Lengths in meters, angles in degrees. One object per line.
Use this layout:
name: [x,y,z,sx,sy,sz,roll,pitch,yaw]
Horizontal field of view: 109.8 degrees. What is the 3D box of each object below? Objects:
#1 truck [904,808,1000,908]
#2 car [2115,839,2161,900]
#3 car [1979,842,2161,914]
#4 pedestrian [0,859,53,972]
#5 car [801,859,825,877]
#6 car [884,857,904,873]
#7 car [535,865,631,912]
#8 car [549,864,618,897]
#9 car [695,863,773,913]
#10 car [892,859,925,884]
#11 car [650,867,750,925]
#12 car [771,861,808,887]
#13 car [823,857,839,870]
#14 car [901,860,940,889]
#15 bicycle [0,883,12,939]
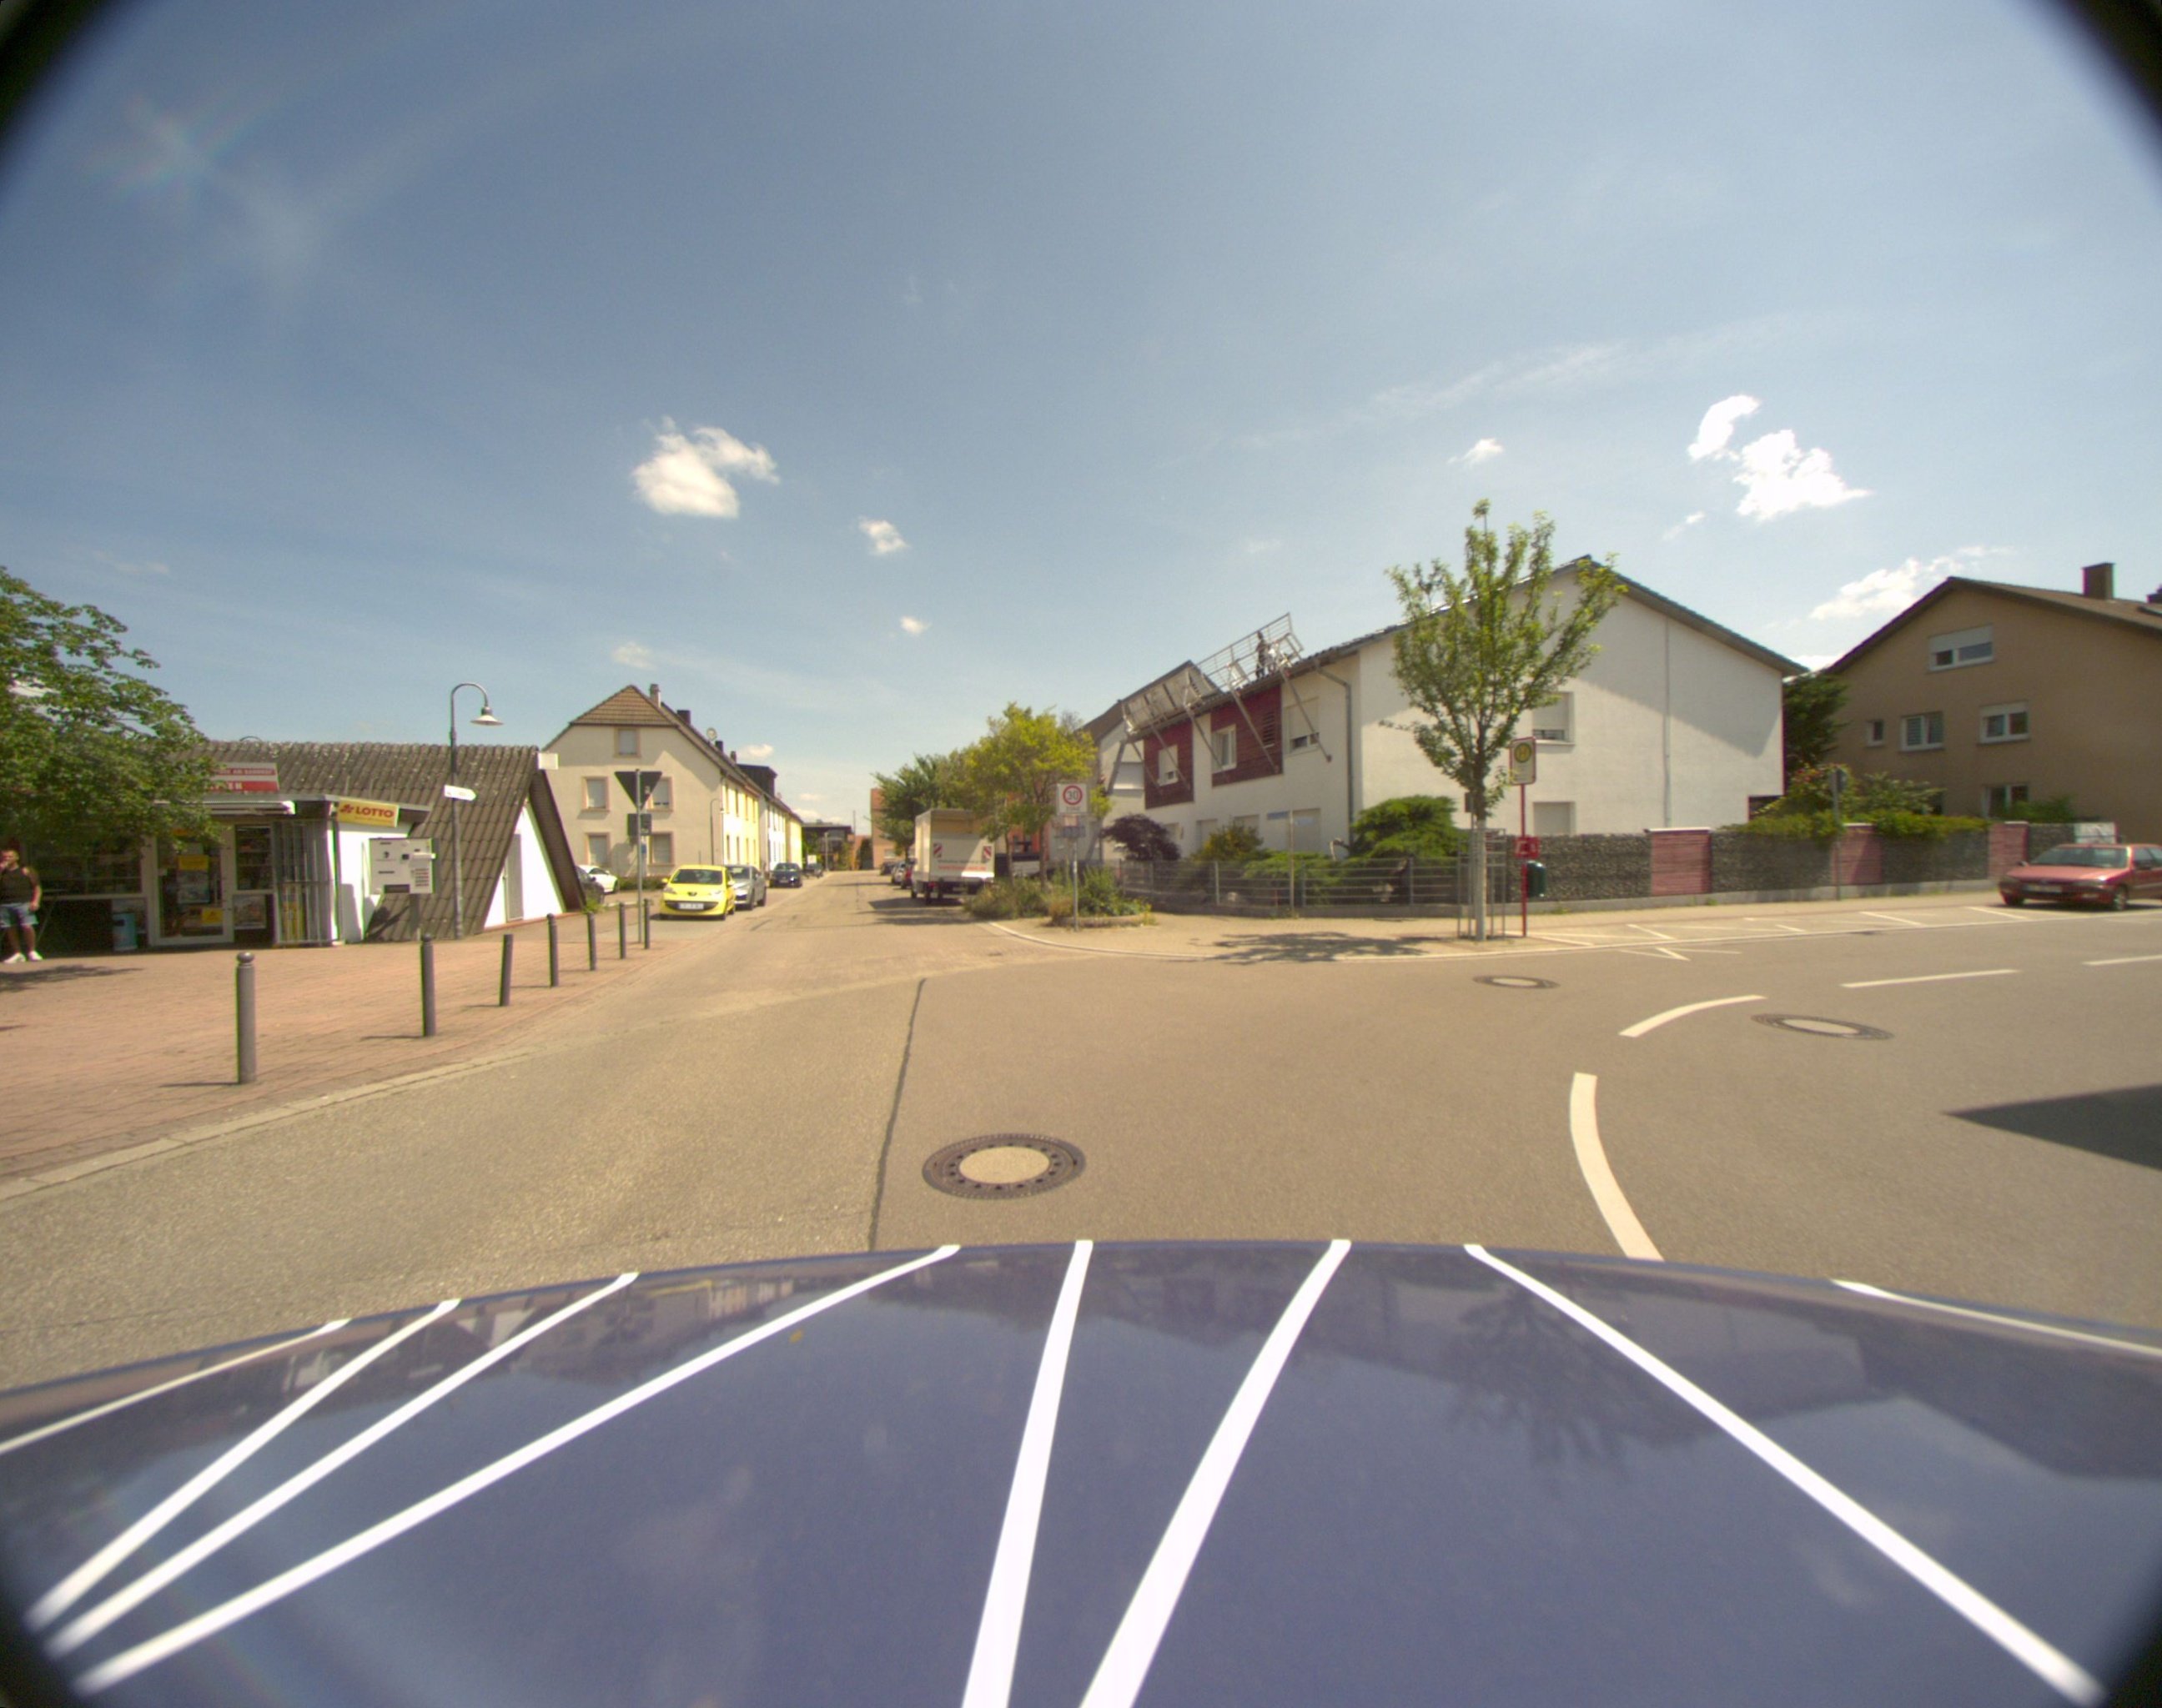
truck: [-5.001,0.167,28.365,2.448,3.227,7.025,2,-1,-18]
car: [27.429,0.351,18.254,4.002,1.390,1.719,-1,2,-15]
car: [22.096,0.473,16.637,3.679,1.390,1.719,-1,2,-15]
pedestrian: [-16.595,0.938,11.826,0.463,1.710,0.599,0,1,25]
car: [-24.351,1.233,69.123,1.723,1.491,4.209,2,-1,-16]
car: [-18.956,1.076,76.798,1.723,1.491,4.209,1,0,-17]
car: [-15.538,1.037,23.893,1.507,1.302,3.504,2,-1,-16]
car: [-21.861,1.116,33.495,1.507,1.302,3.504,2,-1,-16]
car: [-11.755,1.109,25.976,1.723,1.491,4.209,2,-1,-16]
car: [-10.893,1.081,47.779,1.723,1.491,4.209,1,0,-17]
car: [-10.703,1.123,21.642,1.723,1.389,4.209,2,-1,-16]
car: [-18.201,1.236,47.619,1.723,1.491,4.209,2,-1,-16]
car: [-32.335,1.215,98.302,1.723,1.491,4.209,2,-1,-16]
car: [-8.814,1.083,41.454,1.723,1.491,4.209,1,0,-17]
bicycle: [-26.199,1.375,17.371,0.606,1.343,2.349,-1,0,-13]
